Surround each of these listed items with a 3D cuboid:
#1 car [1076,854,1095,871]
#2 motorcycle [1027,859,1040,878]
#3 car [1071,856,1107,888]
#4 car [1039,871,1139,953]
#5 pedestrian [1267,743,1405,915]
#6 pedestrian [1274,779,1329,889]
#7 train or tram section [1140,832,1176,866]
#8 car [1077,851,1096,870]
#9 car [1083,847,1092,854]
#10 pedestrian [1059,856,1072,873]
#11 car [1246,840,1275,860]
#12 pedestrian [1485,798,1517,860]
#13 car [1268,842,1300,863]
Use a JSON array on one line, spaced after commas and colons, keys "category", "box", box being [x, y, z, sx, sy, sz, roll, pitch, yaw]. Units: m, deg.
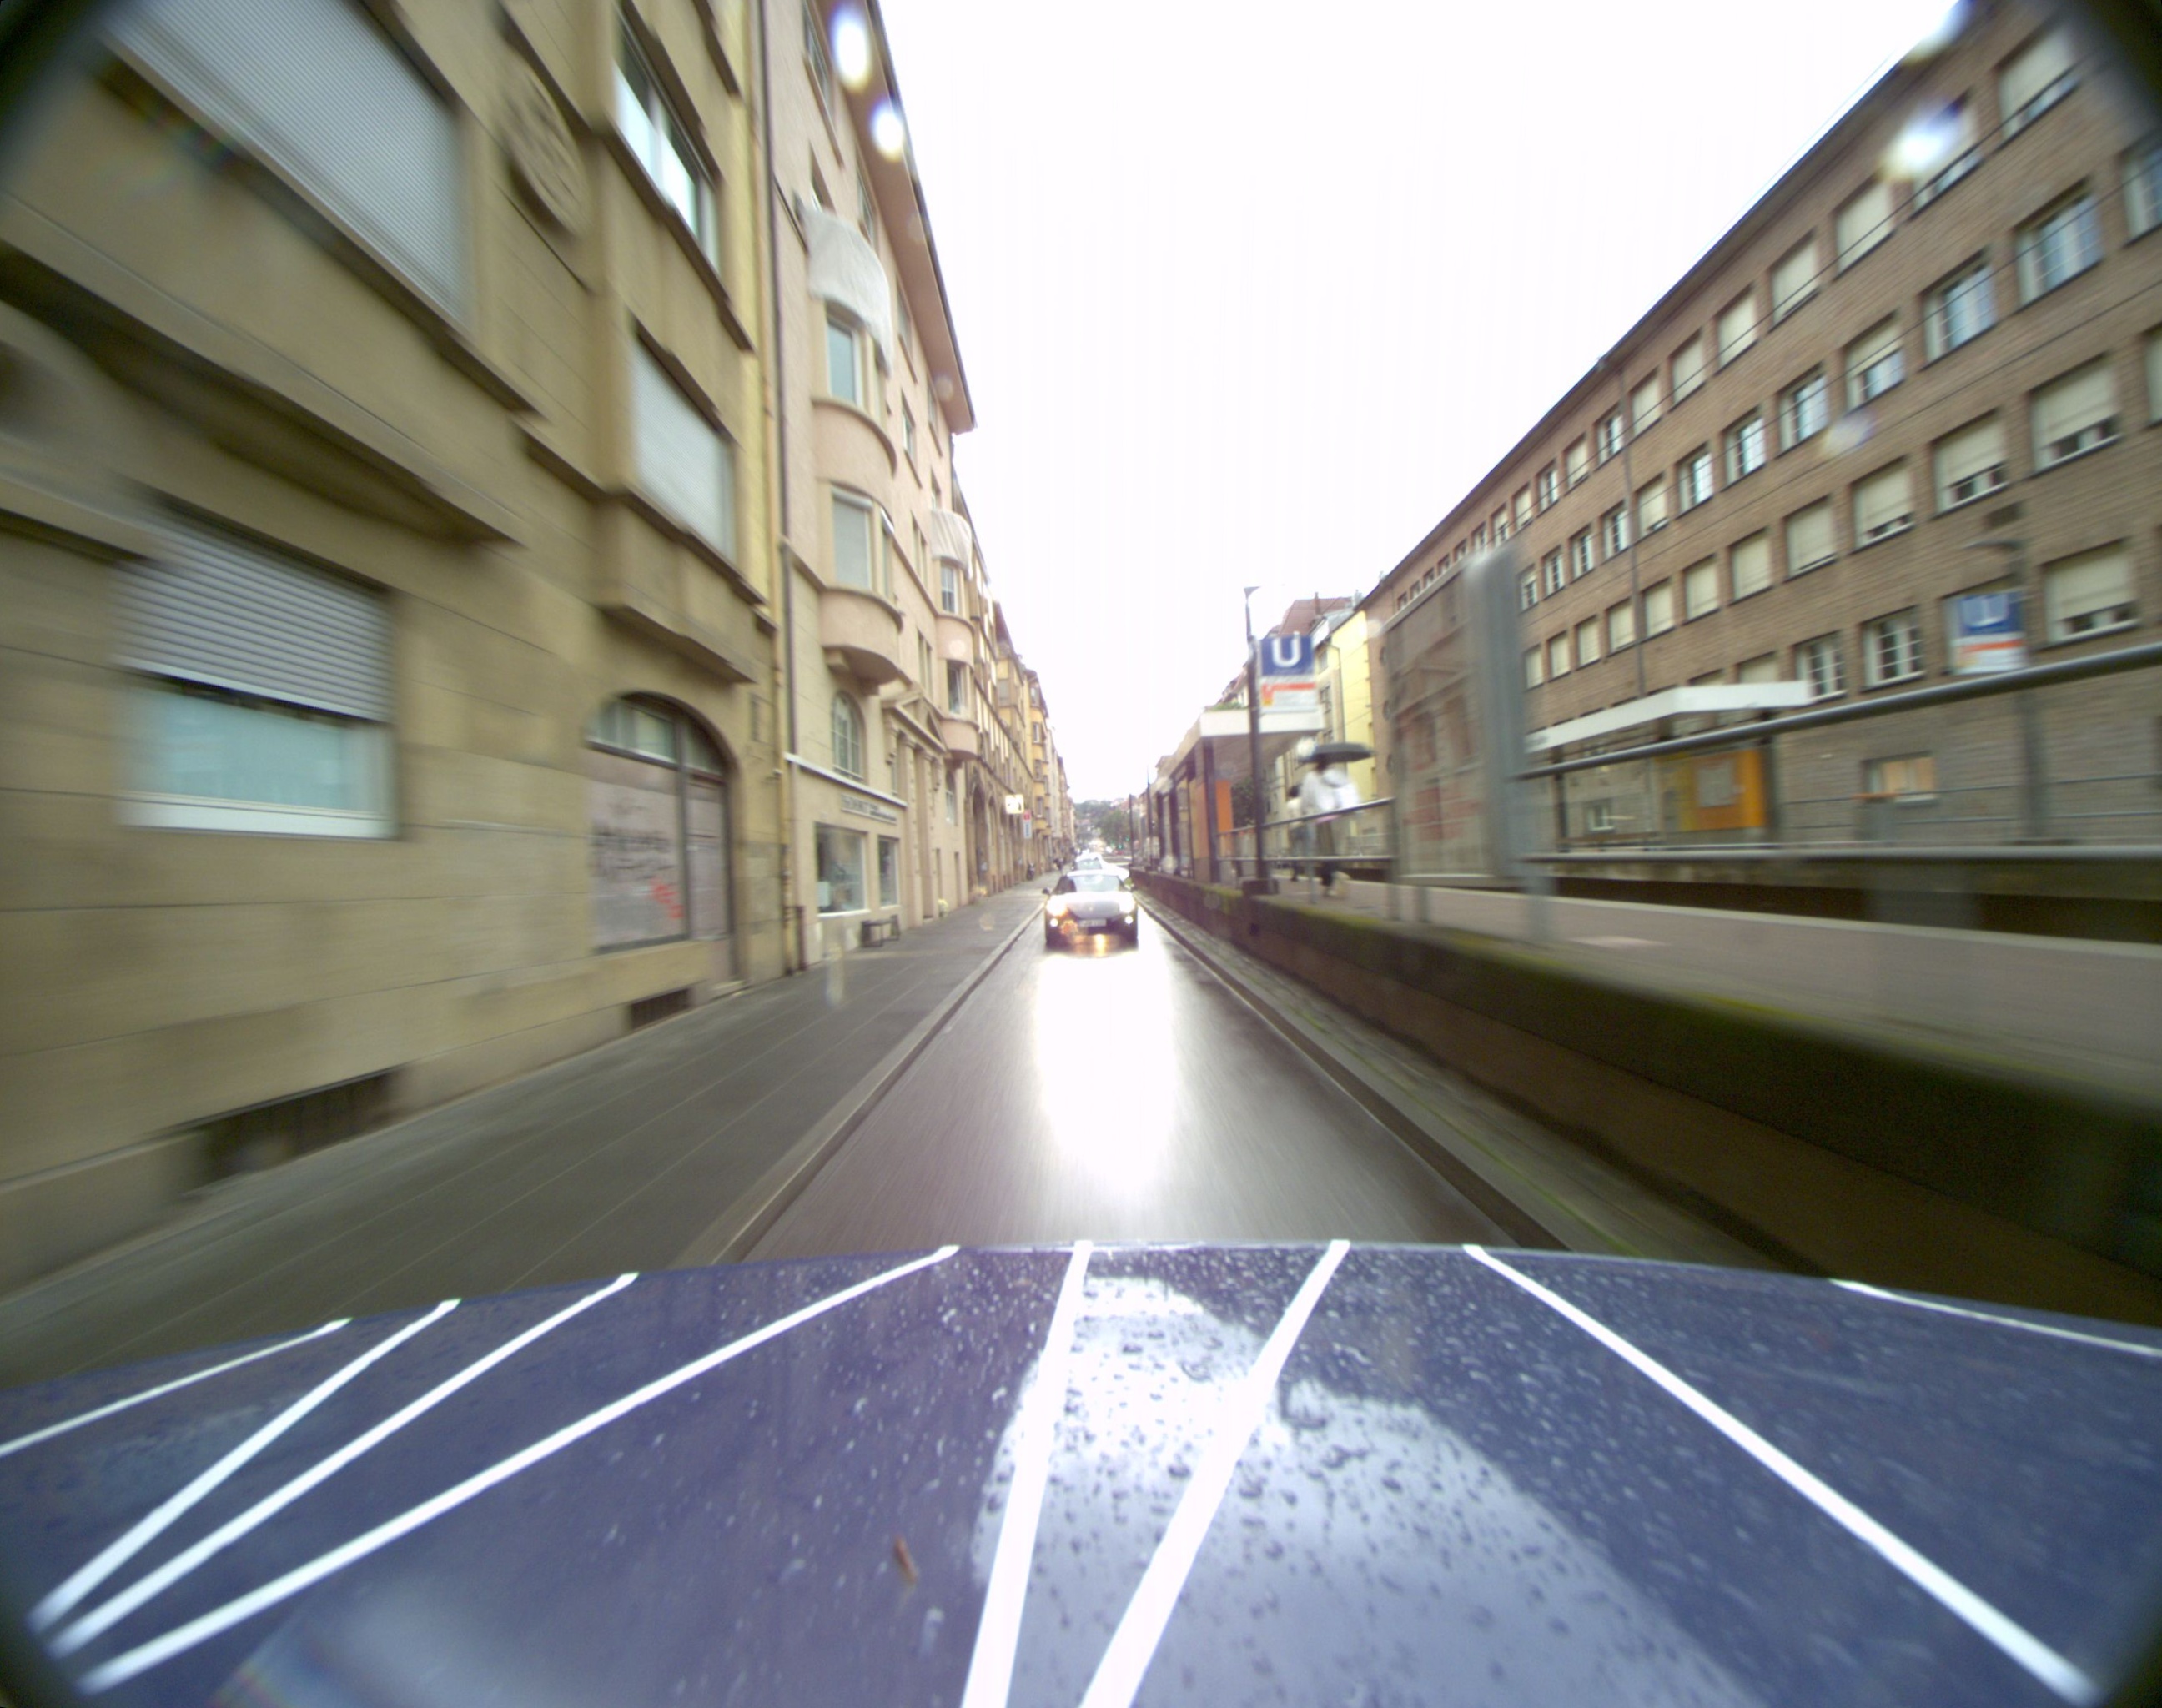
[{"category": "car", "box": [0.452, 0.733, 70.554, 1.633, 1.443, 4.000, -3, 0, 2]}, {"category": "motorcycle", "box": [-3.269, 1.004, 52.693, 0.692, 1.230, 1.779, 3, 0, 1]}, {"category": "car", "box": [0.413, 0.864, 38.156, 1.689, 1.451, 3.299, -1, 0, 1]}, {"category": "car", "box": [0.230, 1.073, 15.543, 1.704, 1.280, 4.196, -3, 0, 2]}, {"category": "pedestrian", "box": [2.841, -0.270, 8.609, 1.116, 1.764, 1.111, -3, 1, 1]}, {"category": "pedestrian", "box": [3.691, -0.325, 12.786, 0.645, 1.764, 0.710, -3, 1, 1]}, {"category": "train or tram section", "box": [9.793, -0.666, 99.006, 2.721, 3.898, 19.860, -3, 0, 0]}, {"category": "car", "box": [0.556, 0.640, 78.364, 1.741, 1.788, 4.265, -3, 0, 2]}, {"category": "car", "box": [1.735, -0.927, 198.120, 1.998, 1.761, 4.000, -3, 1, 3]}, {"category": "pedestrian", "box": [-1.592, 1.095, 77.783, 1.125, 1.703, 1.102, -3, 1, 4]}, {"category": "car", "box": [15.663, -0.361, 66.594, 1.648, 1.571, 4.339, -3, 0, 2]}, {"category": "pedestrian", "box": [11.837, -0.703, 21.425, 0.588, 1.699, 0.491, -1, 1, 0]}, {"category": "car", "box": [15.456, -0.108, 58.000, 1.648, 1.457, 3.111, -3, 0, 2]}]
